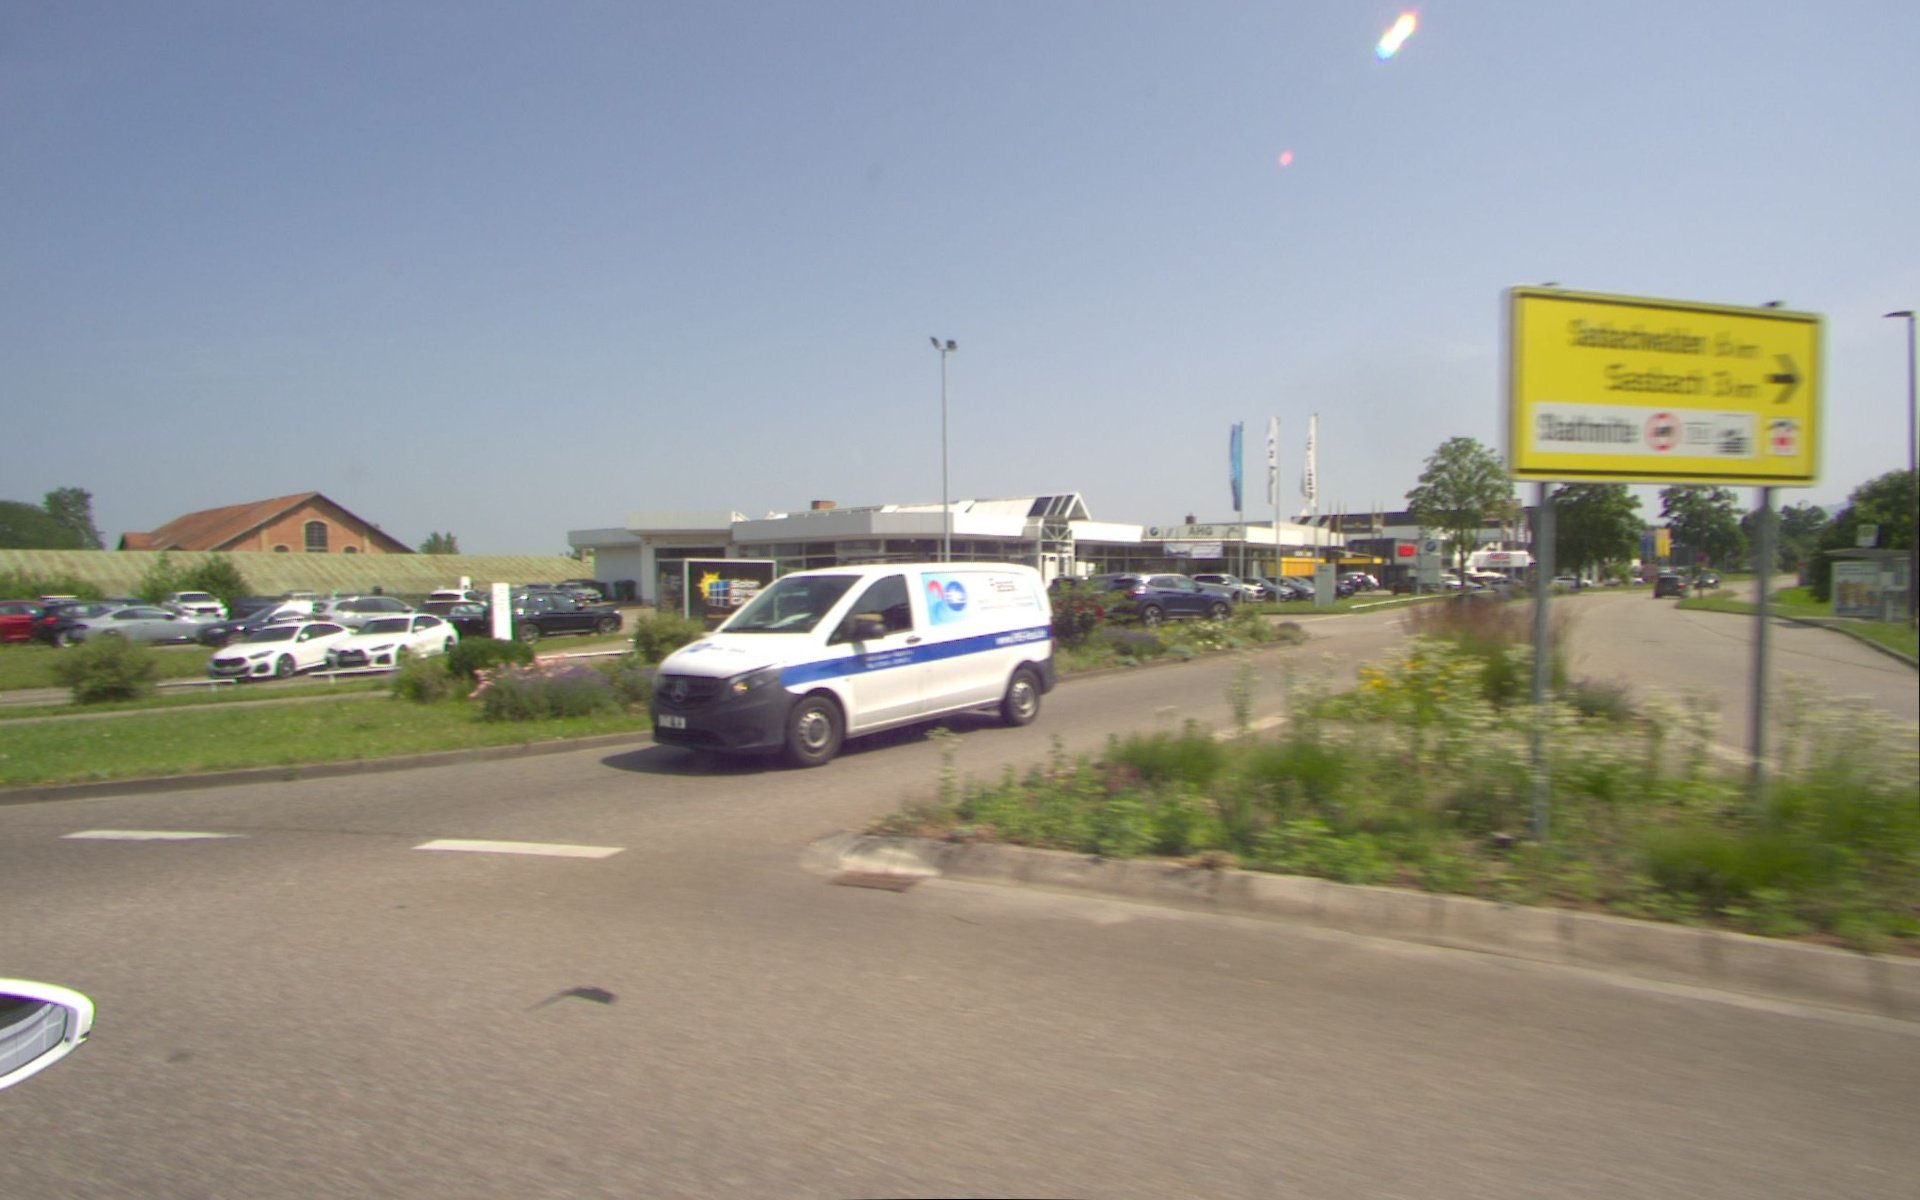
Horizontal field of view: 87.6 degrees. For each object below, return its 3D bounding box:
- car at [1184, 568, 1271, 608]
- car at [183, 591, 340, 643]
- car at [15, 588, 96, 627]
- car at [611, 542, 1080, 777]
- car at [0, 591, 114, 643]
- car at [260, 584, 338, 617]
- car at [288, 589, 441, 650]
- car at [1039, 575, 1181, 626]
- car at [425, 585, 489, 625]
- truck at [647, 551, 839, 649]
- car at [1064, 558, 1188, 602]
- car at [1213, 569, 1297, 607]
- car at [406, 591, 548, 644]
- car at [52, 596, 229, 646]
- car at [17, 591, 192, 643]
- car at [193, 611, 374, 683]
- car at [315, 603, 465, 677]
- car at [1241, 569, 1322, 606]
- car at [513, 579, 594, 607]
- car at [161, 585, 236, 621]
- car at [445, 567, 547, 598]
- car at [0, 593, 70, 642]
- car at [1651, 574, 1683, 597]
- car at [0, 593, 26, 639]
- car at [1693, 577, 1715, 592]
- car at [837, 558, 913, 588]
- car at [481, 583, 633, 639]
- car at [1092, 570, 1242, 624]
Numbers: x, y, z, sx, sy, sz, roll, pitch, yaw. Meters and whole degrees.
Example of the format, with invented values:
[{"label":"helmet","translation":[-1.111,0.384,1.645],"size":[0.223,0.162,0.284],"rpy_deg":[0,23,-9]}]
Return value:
[{"label":"car","translation":[14.744,-0.652,55.346],"size":[4.212,2.040,1.984],"rpy_deg":[-2,0,40]},{"label":"car","translation":[-23.499,0.534,33.767],"size":[1.927,1.547,3.974],"rpy_deg":[0,2,41]},{"label":"car","translation":[-39.941,0.322,44.187],"size":[4.250,1.618,1.908],"rpy_deg":[0,2,38]},{"label":"car","translation":[-0.932,0.501,10.912],"size":[1.840,1.963,5.186],"rpy_deg":[-2,-1,41]},{"label":"car","translation":[-34.115,0.610,36.664],"size":[1.924,1.771,4.437],"rpy_deg":[0,2,35]},{"label":"car","translation":[-35.076,0.037,53.121],"size":[4.250,1.618,2.178],"rpy_deg":[0,2,38]},{"label":"car","translation":[-20.182,0.607,34.059],"size":[1.924,1.774,3.980],"rpy_deg":[0,3,36]},{"label":"car","translation":[5.012,-0.027,33.449],"size":[4.302,1.533,1.903],"rpy_deg":[-2,2,-22]},{"label":"car","translation":[-21.977,0.163,43.870],"size":[1.628,1.608,4.260],"rpy_deg":[-2,2,-15]},{"label":"truck","translation":[-6.415,-0.092,30.256],"size":[1.927,2.701,5.579],"rpy_deg":[1,2,41]},{"label":"car","translation":[6.296,-0.776,38.023],"size":[4.302,1.533,1.903],"rpy_deg":[-2,2,-22]},{"label":"car","translation":[16.987,-0.678,57.823],"size":[4.212,2.040,1.984],"rpy_deg":[-2,0,40]},{"label":"car","translation":[-16.746,0.539,34.871],"size":[1.923,1.521,3.980],"rpy_deg":[1,4,35]},{"label":"car","translation":[-28.757,0.688,35.278],"size":[1.924,1.520,4.437],"rpy_deg":[0,2,35]},{"label":"car","translation":[-30.804,0.560,36.200],"size":[1.924,1.657,4.437],"rpy_deg":[0,2,35]},{"label":"car","translation":[-18.686,1.234,27.953],"size":[1.734,1.592,4.575],"rpy_deg":[-2,2,2]},{"label":"car","translation":[-16.008,1.055,28.442],"size":[1.734,1.593,4.660],"rpy_deg":[-2,4,-4]},{"label":"car","translation":[19.182,-0.709,59.824],"size":[4.212,2.040,1.984],"rpy_deg":[-2,0,40]},{"label":"car","translation":[-19.987,-0.355,49.258],"size":[3.279,1.293,1.656],"rpy_deg":[-1,2,10]},{"label":"car","translation":[-37.475,0.144,49.247],"size":[4.250,1.618,1.908],"rpy_deg":[0,2,38]},{"label":"car","translation":[-24.278,-0.928,52.544],"size":[1.927,1.543,4.431],"rpy_deg":[0,2,40]},{"label":"car","translation":[-36.430,0.689,37.390],"size":[1.815,1.771,4.437],"rpy_deg":[0,2,35]},{"label":"car","translation":[48.958,-0.989,69.360],"size":[1.750,1.504,4.013],"rpy_deg":[0,2,36]},{"label":"car","translation":[-39.010,0.699,38.332],"size":[1.815,1.771,4.437],"rpy_deg":[0,2,35]},{"label":"car","translation":[77.194,-1.628,103.864],"size":[1.751,1.504,4.011],"rpy_deg":[0,2,37]},{"label":"car","translation":[-4.672,-1.519,55.566],"size":[1.887,1.608,4.006],"rpy_deg":[0,2,41]},{"label":"car","translation":[-13.585,0.352,33.989],"size":[1.924,1.521,4.394],"rpy_deg":[-1,3,36]},{"label":"car","translation":[6.534,-0.119,31.654],"size":[4.302,1.533,1.903],"rpy_deg":[-2,2,-22]}]
